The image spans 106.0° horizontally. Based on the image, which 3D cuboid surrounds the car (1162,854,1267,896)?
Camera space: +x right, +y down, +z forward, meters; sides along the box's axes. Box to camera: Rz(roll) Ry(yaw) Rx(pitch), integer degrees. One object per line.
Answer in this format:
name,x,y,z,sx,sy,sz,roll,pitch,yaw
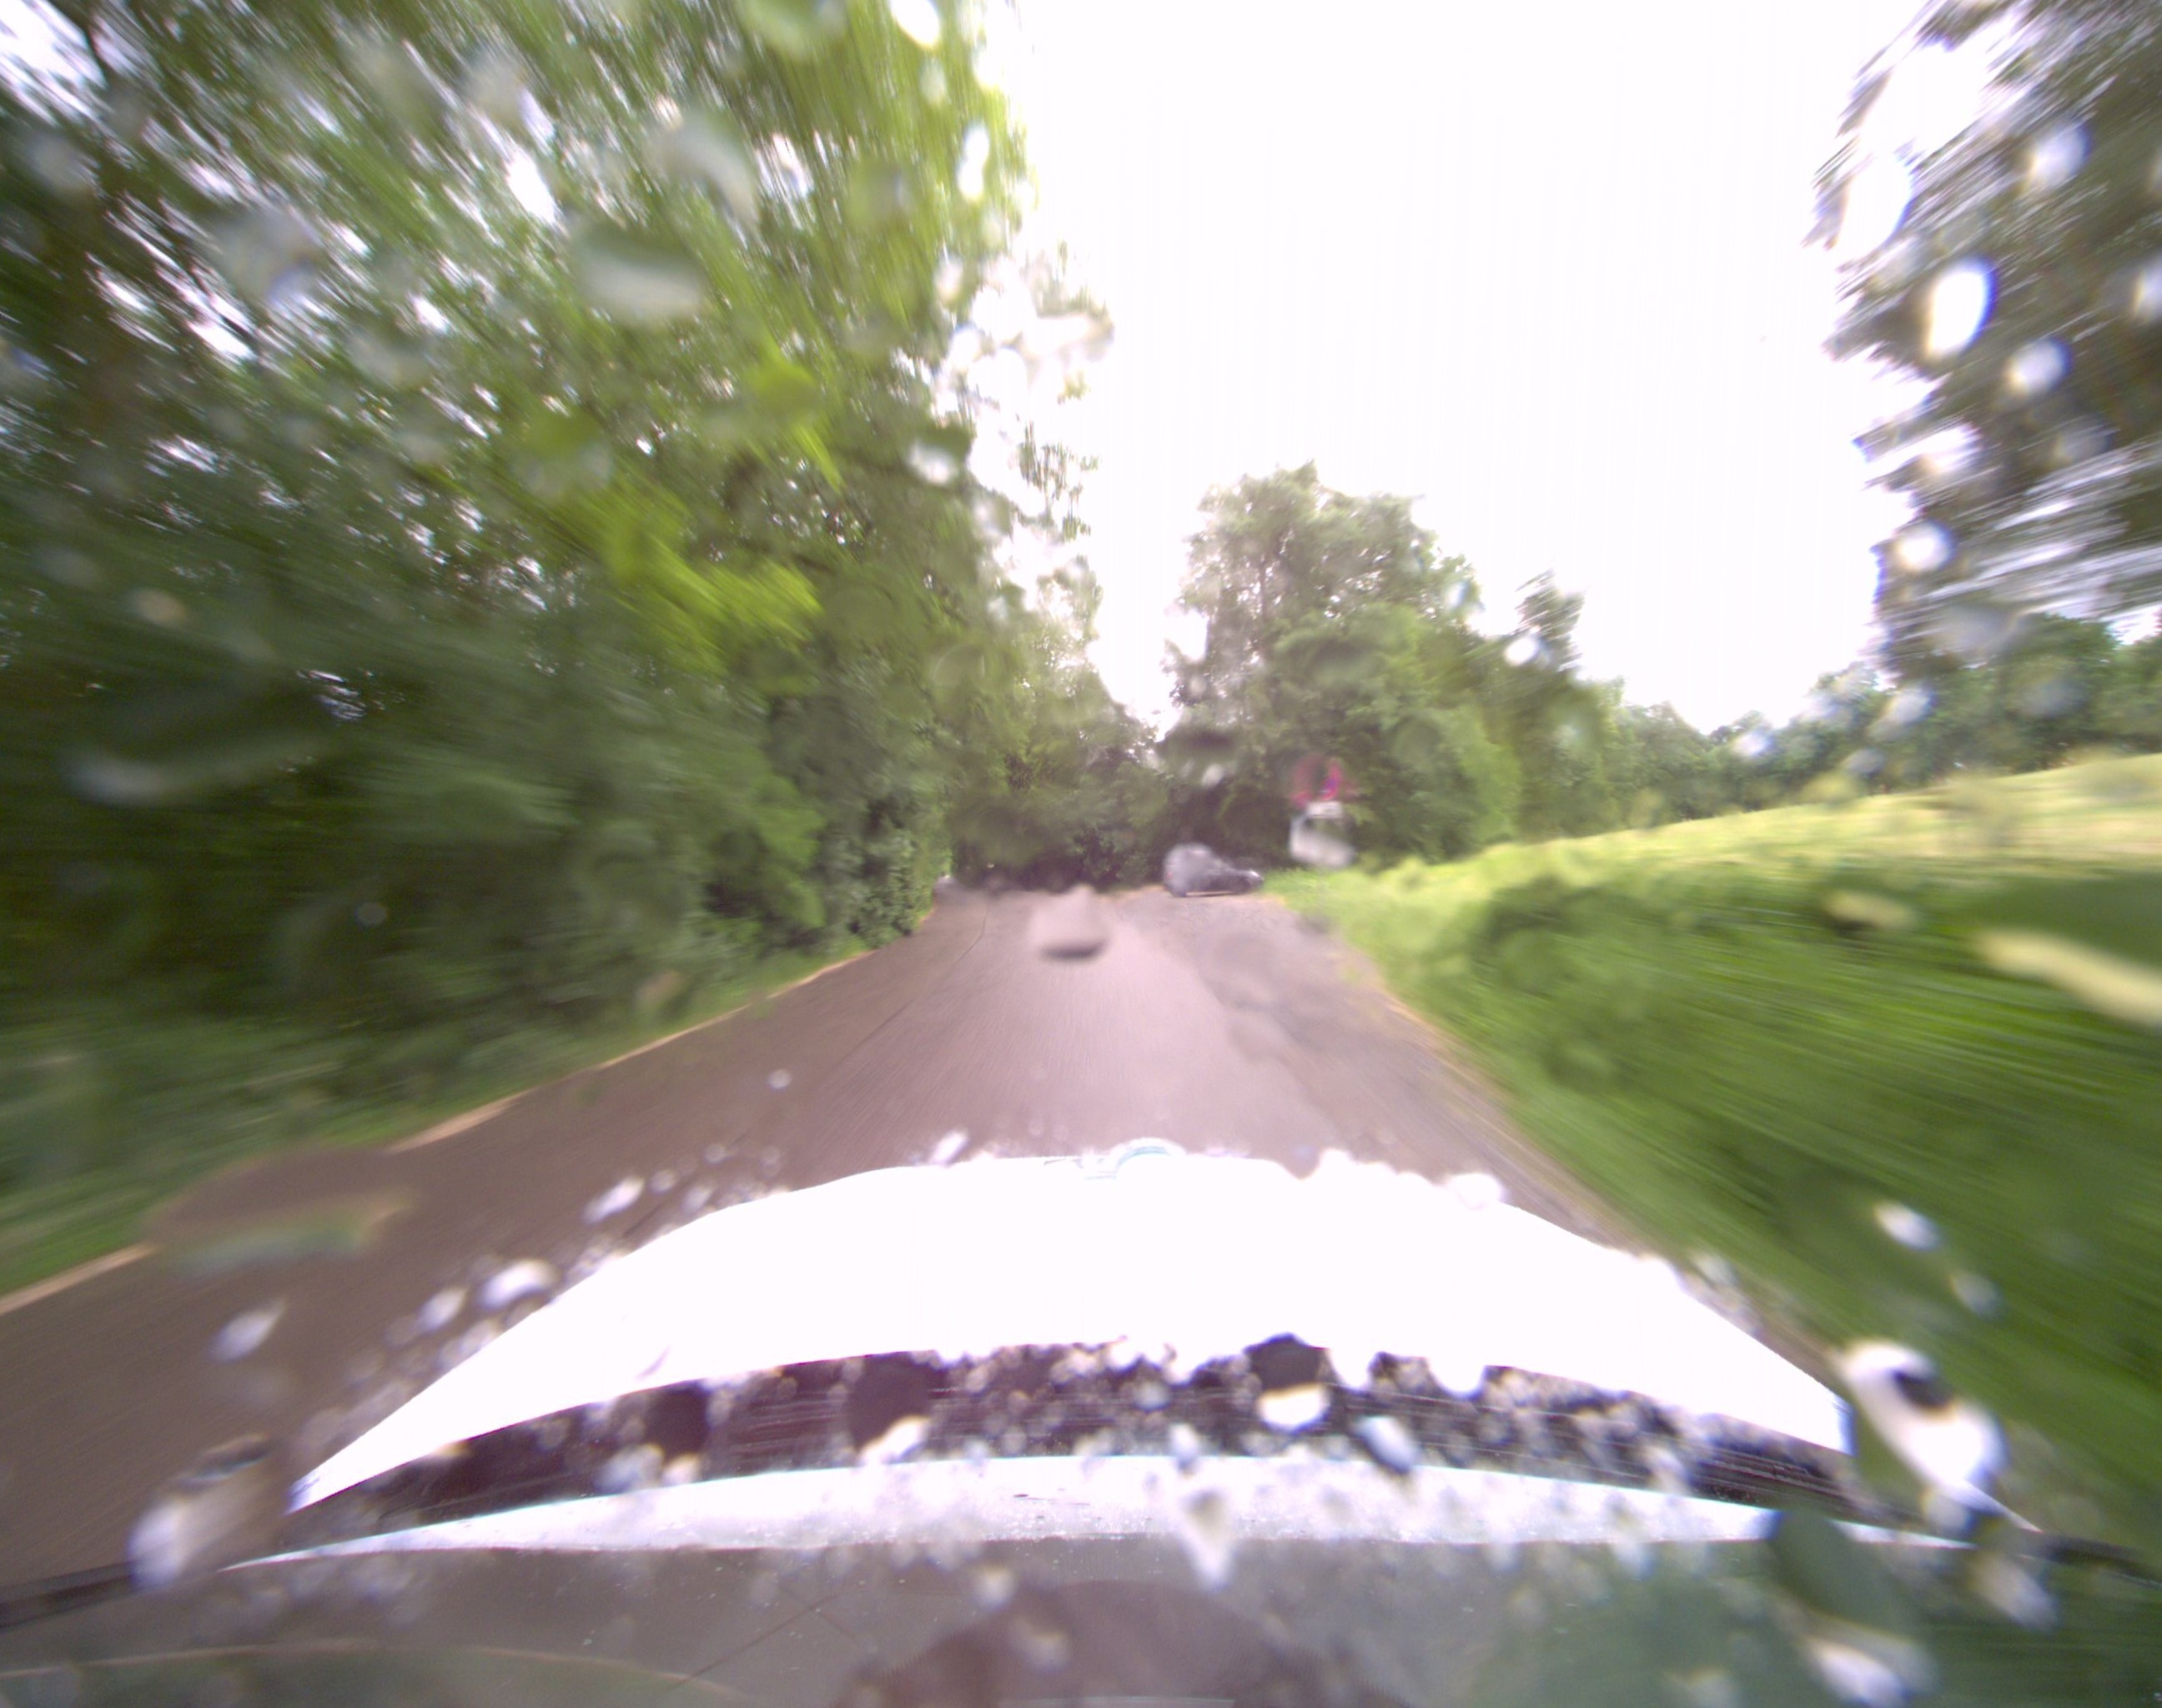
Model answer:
car,5.050,0.792,31.169,3.695,1.436,1.706,-2,-1,0
